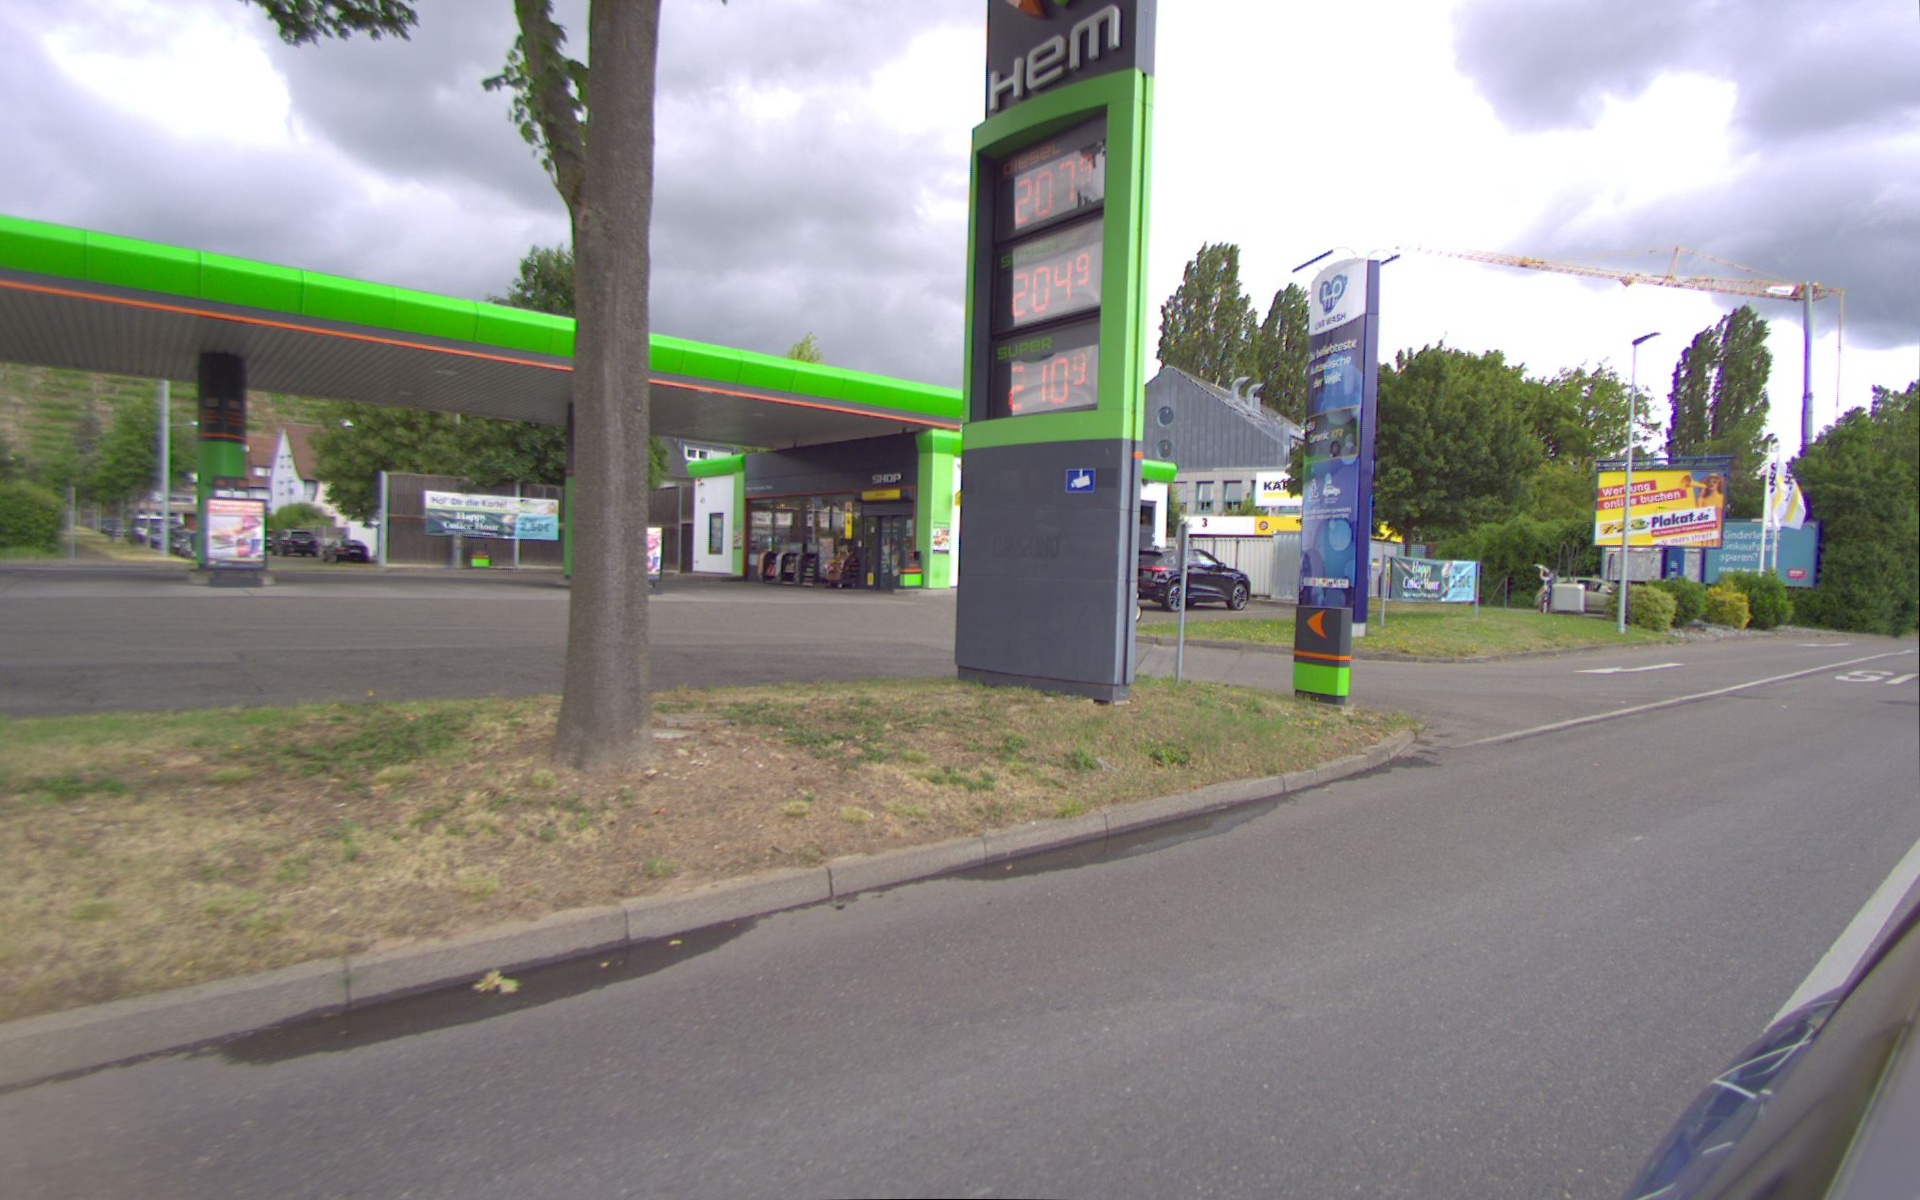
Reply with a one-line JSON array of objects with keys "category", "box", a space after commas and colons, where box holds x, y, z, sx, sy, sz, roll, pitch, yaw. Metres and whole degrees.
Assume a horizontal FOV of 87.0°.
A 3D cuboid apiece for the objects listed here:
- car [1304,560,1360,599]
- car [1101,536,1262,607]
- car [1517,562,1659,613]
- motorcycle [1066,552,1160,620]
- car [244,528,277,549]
[{"category": "car", "box": [16.787, -0.927, 45.622, 1.620, 1.659, 3.490, 3, 2, 32]}, {"category": "car", "box": [5.927, -0.761, 26.859, 4.259, 1.694, 1.826, -1, 5, -39]}, {"category": "car", "box": [23.745, -0.494, 38.304, 4.018, 1.676, 2.900, 4, 3, 43]}, {"category": "motorcycle", "box": [3.230, -0.292, 21.243, 1.955, 1.347, 0.857, 0, 3, -41]}, {"category": "car", "box": [-52.872, -4.623, 76.438, 1.707, 1.434, 3.995, 0, 1, -40]}]
